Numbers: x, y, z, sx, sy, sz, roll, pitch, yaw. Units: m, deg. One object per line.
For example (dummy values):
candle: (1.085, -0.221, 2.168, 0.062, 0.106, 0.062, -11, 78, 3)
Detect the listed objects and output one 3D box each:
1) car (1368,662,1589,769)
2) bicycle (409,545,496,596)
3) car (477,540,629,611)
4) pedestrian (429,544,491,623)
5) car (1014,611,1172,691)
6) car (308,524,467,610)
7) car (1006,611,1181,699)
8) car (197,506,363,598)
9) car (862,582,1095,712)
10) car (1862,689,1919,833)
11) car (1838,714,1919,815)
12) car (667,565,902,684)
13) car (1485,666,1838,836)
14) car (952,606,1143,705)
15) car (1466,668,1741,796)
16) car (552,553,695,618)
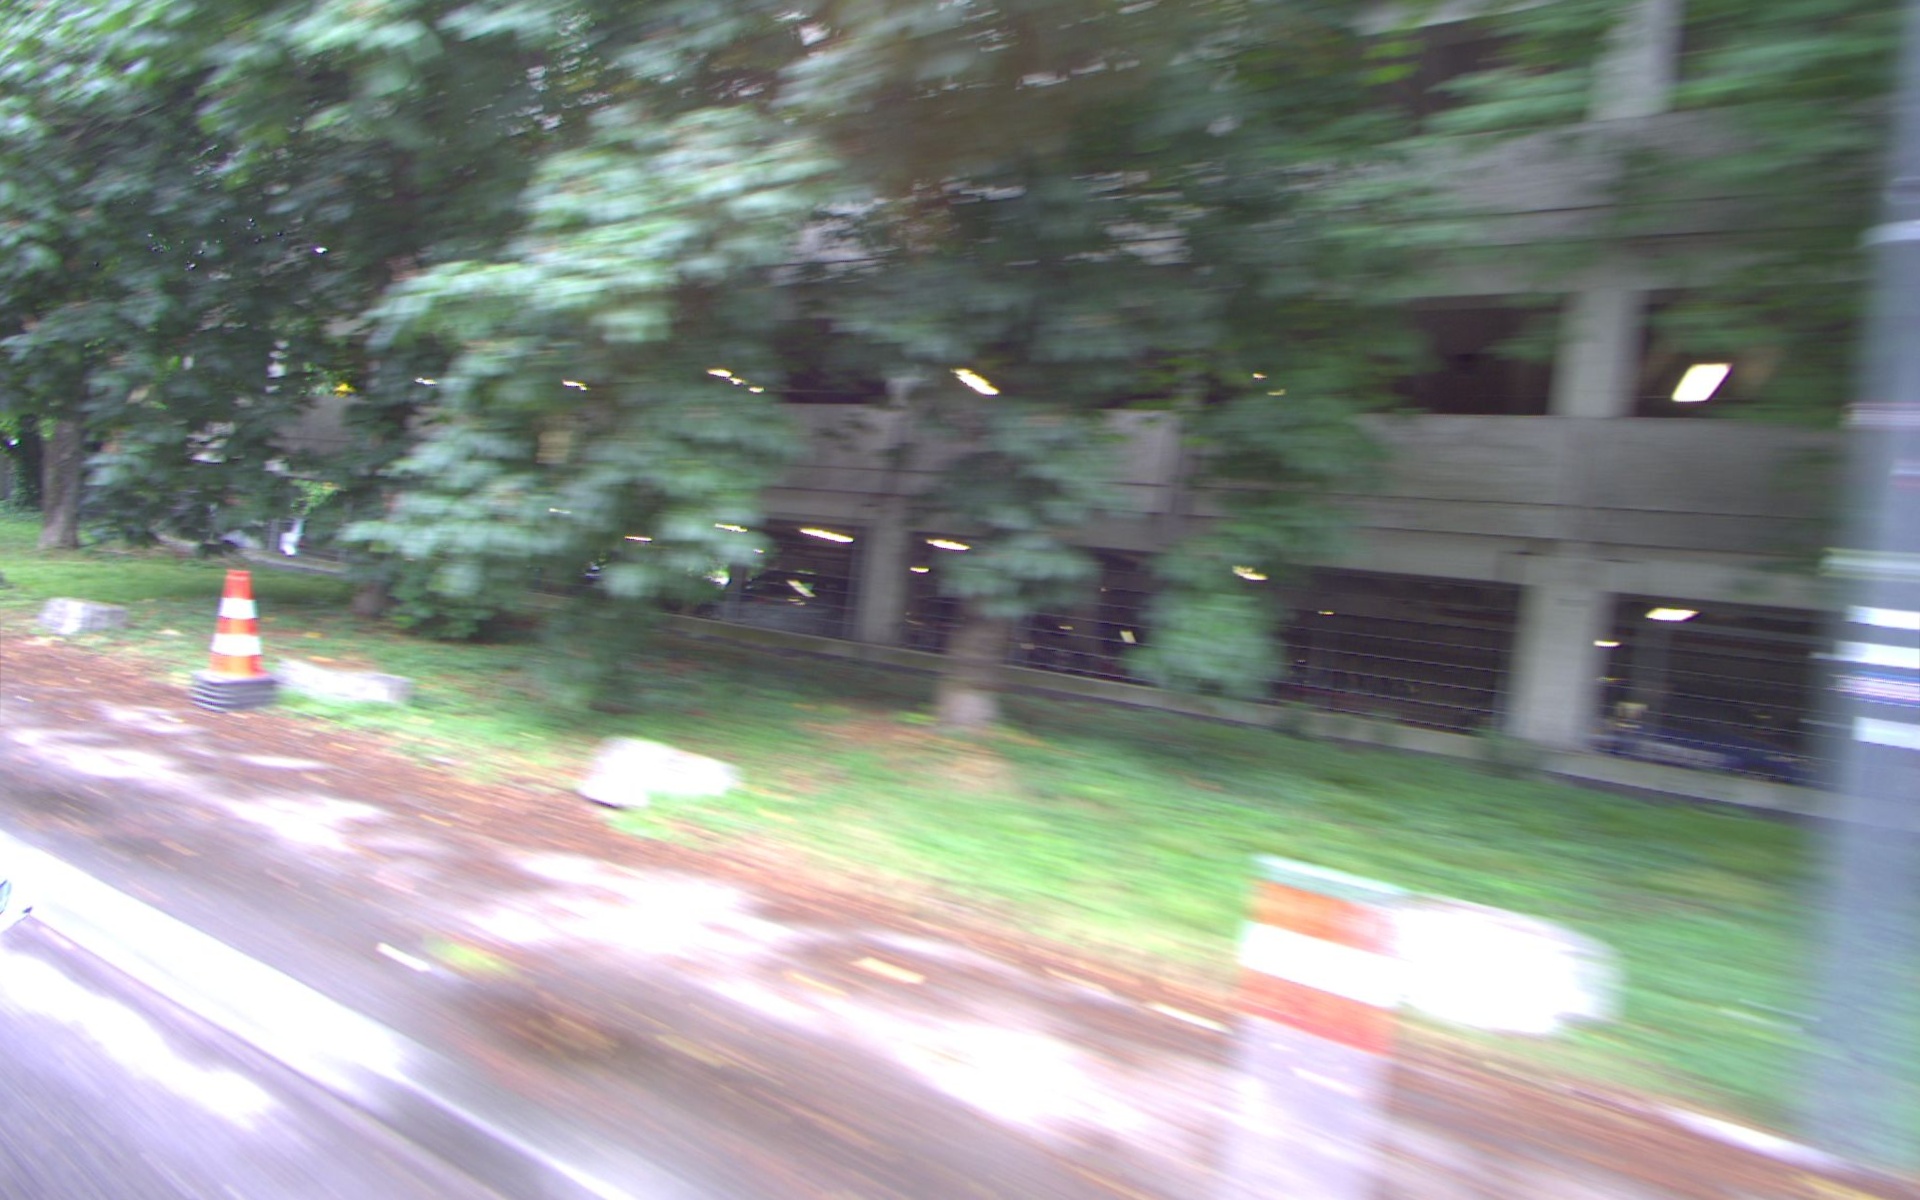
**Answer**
car: (10.202, 2.244, 20.029, 3.637, 1.563, 1.722, 5, -2, 27)
bicycle: (-9.123, -0.524, 18.077, 1.468, 0.745, 0.448, 6, -2, 20)
car: (-12.036, -0.727, 29.743, 3.931, 1.569, 1.999, 5, -3, 28)
pedestrian: (-9.156, -0.294, 18.442, 0.625, 1.332, 0.642, 6, -2, 27)
car: (3.487, 1.340, 26.426, 3.637, 1.626, 1.722, 5, -2, 27)
car: (-14.355, -0.842, 25.195, 3.704, 1.728, 1.585, 5, -2, 28)
car: (3.176, 1.314, 23.945, 3.637, 1.626, 1.722, 5, -2, 27)
car: (-15.682, -1.117, 23.177, 3.655, 1.728, 1.485, 5, -2, 28)
car: (0.350, 0.919, 19.794, 3.932, 2.037, 1.999, 5, -2, 29)
car: (13.999, 2.217, 11.903, 4.587, 1.728, 1.590, 5, -2, 28)
car: (17.132, 2.900, 16.536, 3.637, 1.563, 1.722, 5, -2, 27)
car: (-3.838, 0.521, 21.892, 4.593, 2.037, 1.999, 5, -2, 28)
car: (9.681, 2.040, 14.280, 3.791, 1.728, 1.590, 5, -2, 28)
car: (1.905, 1.207, 21.970, 3.637, 1.699, 1.722, 5, -2, 27)
car: (10.741, 2.167, 17.117, 3.637, 1.563, 1.722, 5, -2, 27)
car: (-10.635, -0.461, 31.778, 3.931, 1.569, 1.999, 5, -3, 28)
